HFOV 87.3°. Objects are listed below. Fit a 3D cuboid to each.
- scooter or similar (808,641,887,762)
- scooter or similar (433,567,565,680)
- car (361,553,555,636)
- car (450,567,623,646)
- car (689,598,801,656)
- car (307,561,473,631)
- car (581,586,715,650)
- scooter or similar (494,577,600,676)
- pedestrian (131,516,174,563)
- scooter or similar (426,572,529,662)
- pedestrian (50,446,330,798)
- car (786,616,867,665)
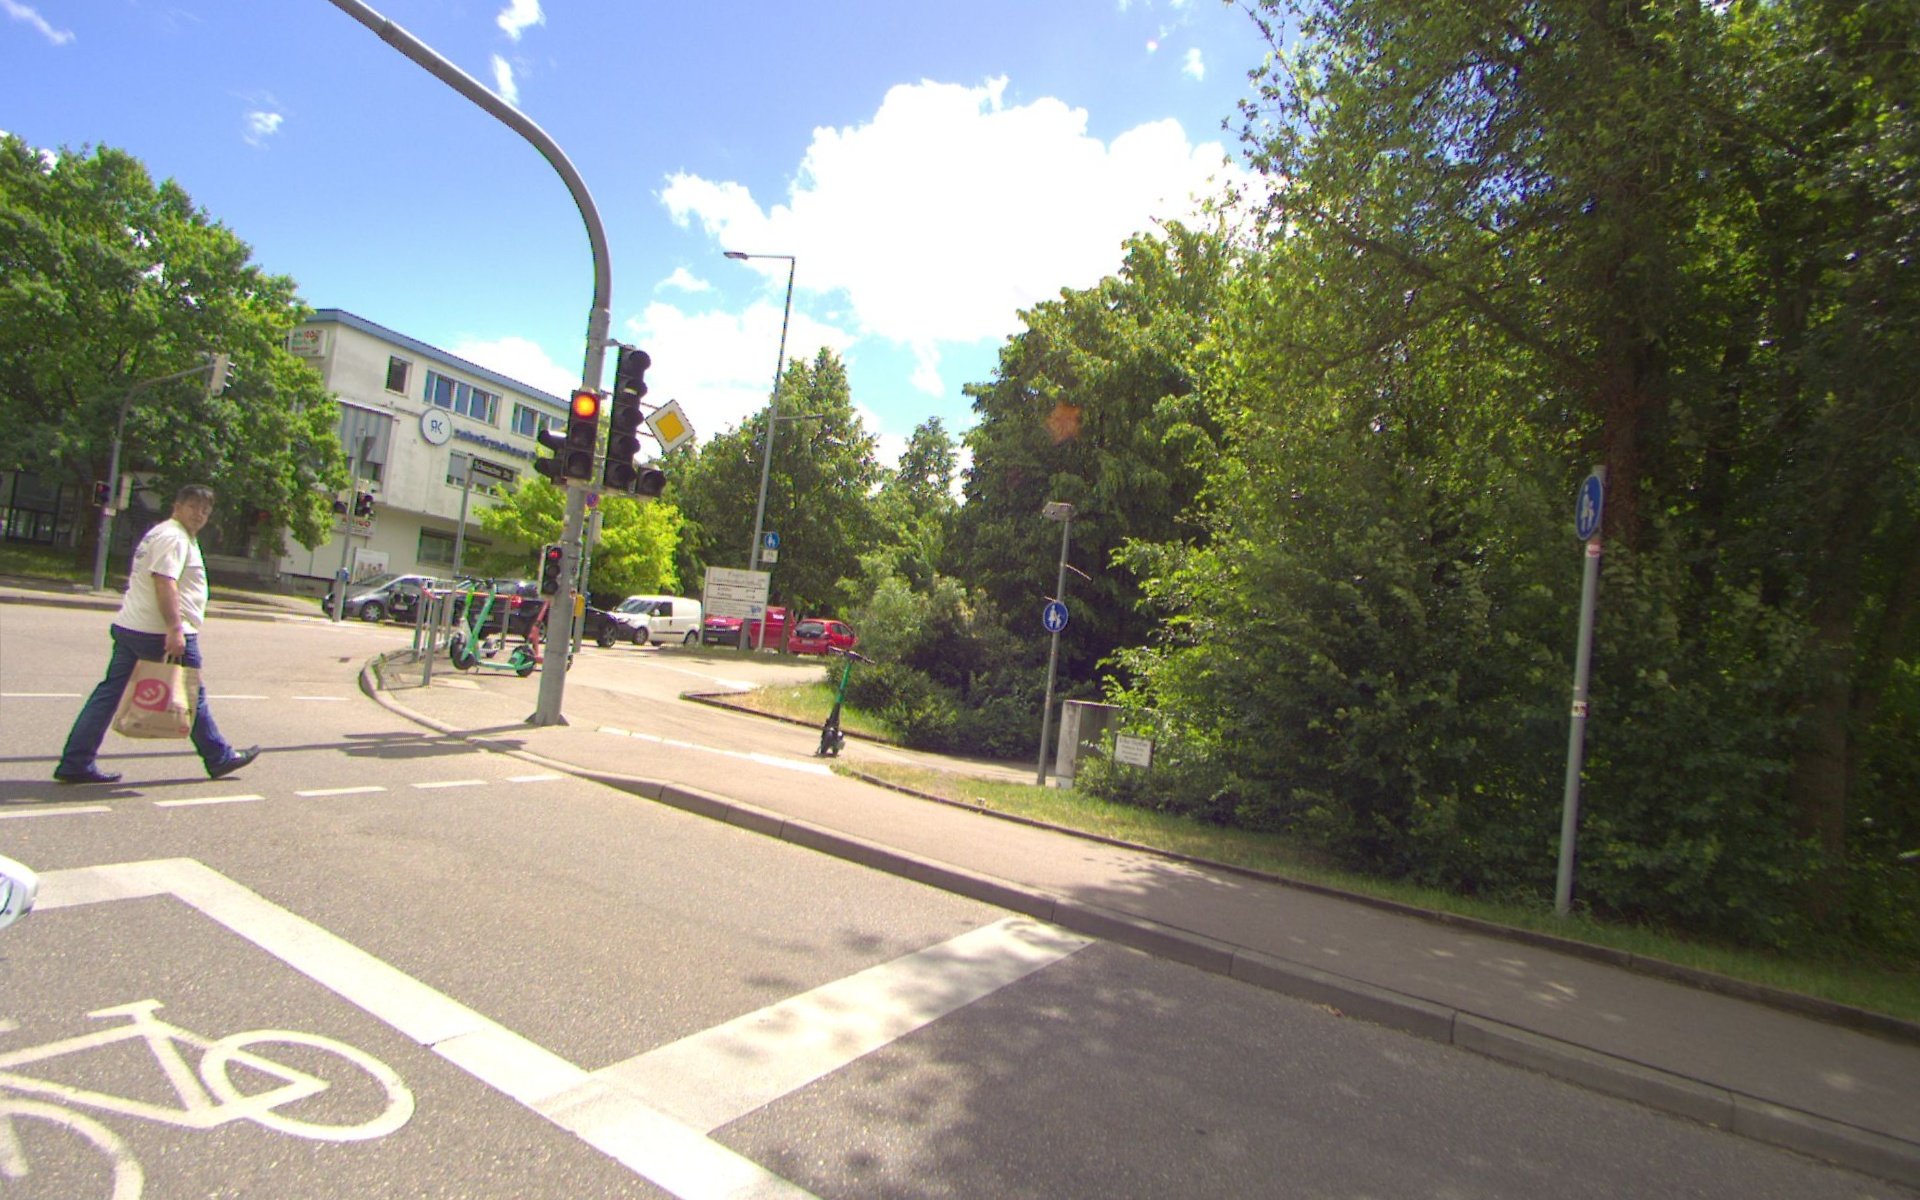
[{"bbox_3d":[-1.393,1.244,12.269,0.706,1.287,1.243,10,-7,-8],"label":"scooter or similar"},{"bbox_3d":[-5.931,0.328,13.004,0.455,1.292,1.344,8,-1,38],"label":"scooter or similar"},{"bbox_3d":[-14.119,-0.080,28.629,1.964,1.737,4.574,7,-2,25],"label":"car"},{"bbox_3d":[-9.720,0.217,23.443,1.724,1.504,4.005,4,-2,10],"label":"car"},{"bbox_3d":[-8.686,1.146,41.195,1.964,1.885,4.822,5,-3,22],"label":"car"},{"bbox_3d":[-17.245,-0.070,30.665,1.963,1.573,3.923,7,-2,21],"label":"car"},{"bbox_3d":[-11.053,0.695,36.008,1.963,1.737,4.576,7,-2,22],"label":"car"},{"bbox_3d":[-5.986,0.409,14.637,0.547,1.254,1.231,8,-3,23],"label":"scooter or similar"},{"bbox_3d":[-31.418,-2.352,39.127,0.890,1.662,0.771,7,-1,18],"label":"pedestrian"},{"bbox_3d":[-7.001,0.276,14.664,0.533,1.168,1.362,9,-3,7],"label":"scooter or similar"},{"bbox_3d":[-4.417,0.129,5.811,0.729,1.829,0.871,7,-1,28],"label":"pedestrian"},{"bbox_3d":[-4.851,1.504,36.960,1.518,1.458,3.199,7,-2,19],"label":"car"}]
